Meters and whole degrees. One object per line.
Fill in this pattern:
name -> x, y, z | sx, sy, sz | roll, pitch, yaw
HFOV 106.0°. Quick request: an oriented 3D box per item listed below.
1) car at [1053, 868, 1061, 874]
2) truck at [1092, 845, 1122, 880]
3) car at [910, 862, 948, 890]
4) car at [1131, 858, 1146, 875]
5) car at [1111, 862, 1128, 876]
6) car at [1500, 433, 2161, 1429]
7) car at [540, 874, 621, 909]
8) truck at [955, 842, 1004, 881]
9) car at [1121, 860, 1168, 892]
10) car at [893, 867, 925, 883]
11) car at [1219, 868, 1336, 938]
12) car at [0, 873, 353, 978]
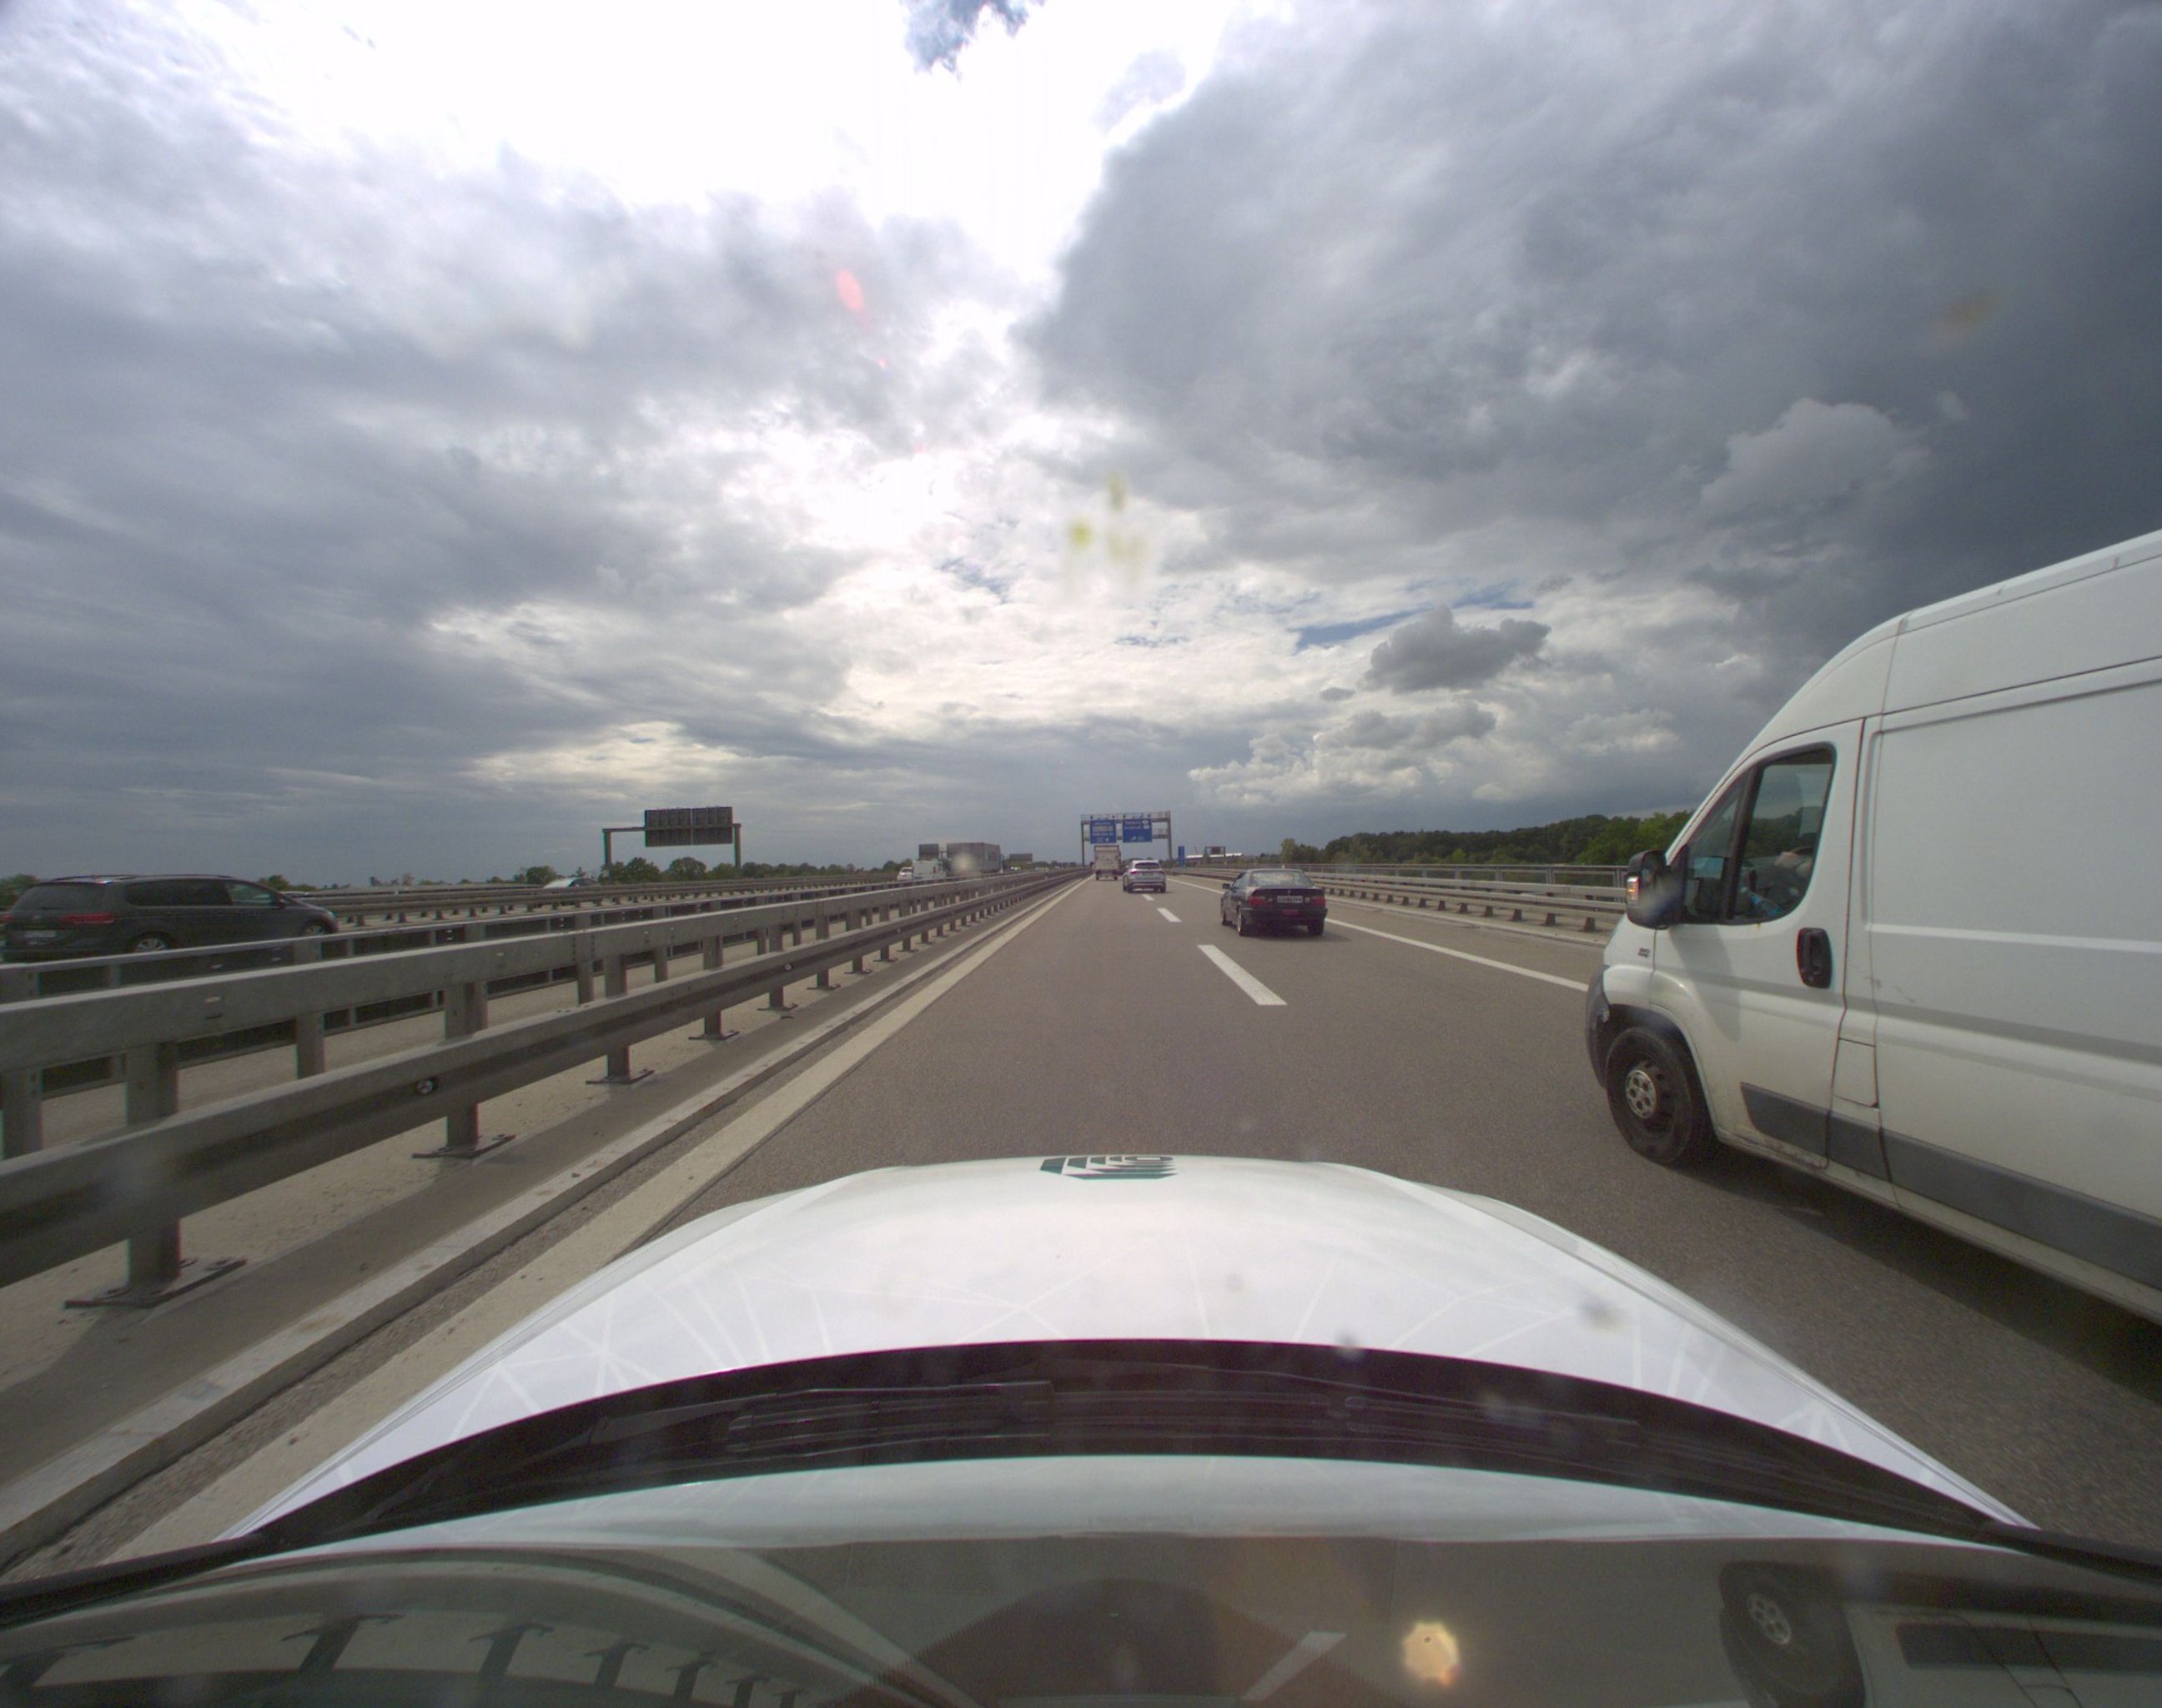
car -> -6.336, 4.592, 215.624 | 1.820, 1.563, 4.003 | -1, 0, 3
truck -> 2.448, 0.868, 76.224 | 2.559, 3.126, 8.636 | 0, -2, 2
car -> -11.772, 1.675, 63.313 | 1.986, 2.014, 4.376 | 0, 0, 2
car -> 7.844, 1.643, 111.835 | 1.899, 2.262, 4.650 | 0, 0, 1
car -> 4.558, 1.770, 96.601 | 1.878, 1.552, 4.001 | 0, 0, 2
car -> 3.718, 0.186, 2.179 | 2.106, 2.454, 6.152 | 0, 0, 1
car -> -27.846, 2.056, 45.457 | 1.986, 1.788, 4.001 | 0, 0, 2
truck -> -11.101, 0.813, 91.151 | 3.172, 4.019, 16.075 | 0, 0, 1
car -> 3.150, 1.089, 40.998 | 1.815, 1.514, 3.995 | 0, 0, -3
car -> -15.633, 1.889, 74.225 | 1.790, 1.420, 4.003 | 0, 0, 3
car -> 4.085, 0.963, 17.561 | 1.697, 1.281, 4.369 | 0, 0, 3
car -> -16.477, 1.165, 15.013 | 1.874, 1.546, 4.616 | 0, 0, 1
